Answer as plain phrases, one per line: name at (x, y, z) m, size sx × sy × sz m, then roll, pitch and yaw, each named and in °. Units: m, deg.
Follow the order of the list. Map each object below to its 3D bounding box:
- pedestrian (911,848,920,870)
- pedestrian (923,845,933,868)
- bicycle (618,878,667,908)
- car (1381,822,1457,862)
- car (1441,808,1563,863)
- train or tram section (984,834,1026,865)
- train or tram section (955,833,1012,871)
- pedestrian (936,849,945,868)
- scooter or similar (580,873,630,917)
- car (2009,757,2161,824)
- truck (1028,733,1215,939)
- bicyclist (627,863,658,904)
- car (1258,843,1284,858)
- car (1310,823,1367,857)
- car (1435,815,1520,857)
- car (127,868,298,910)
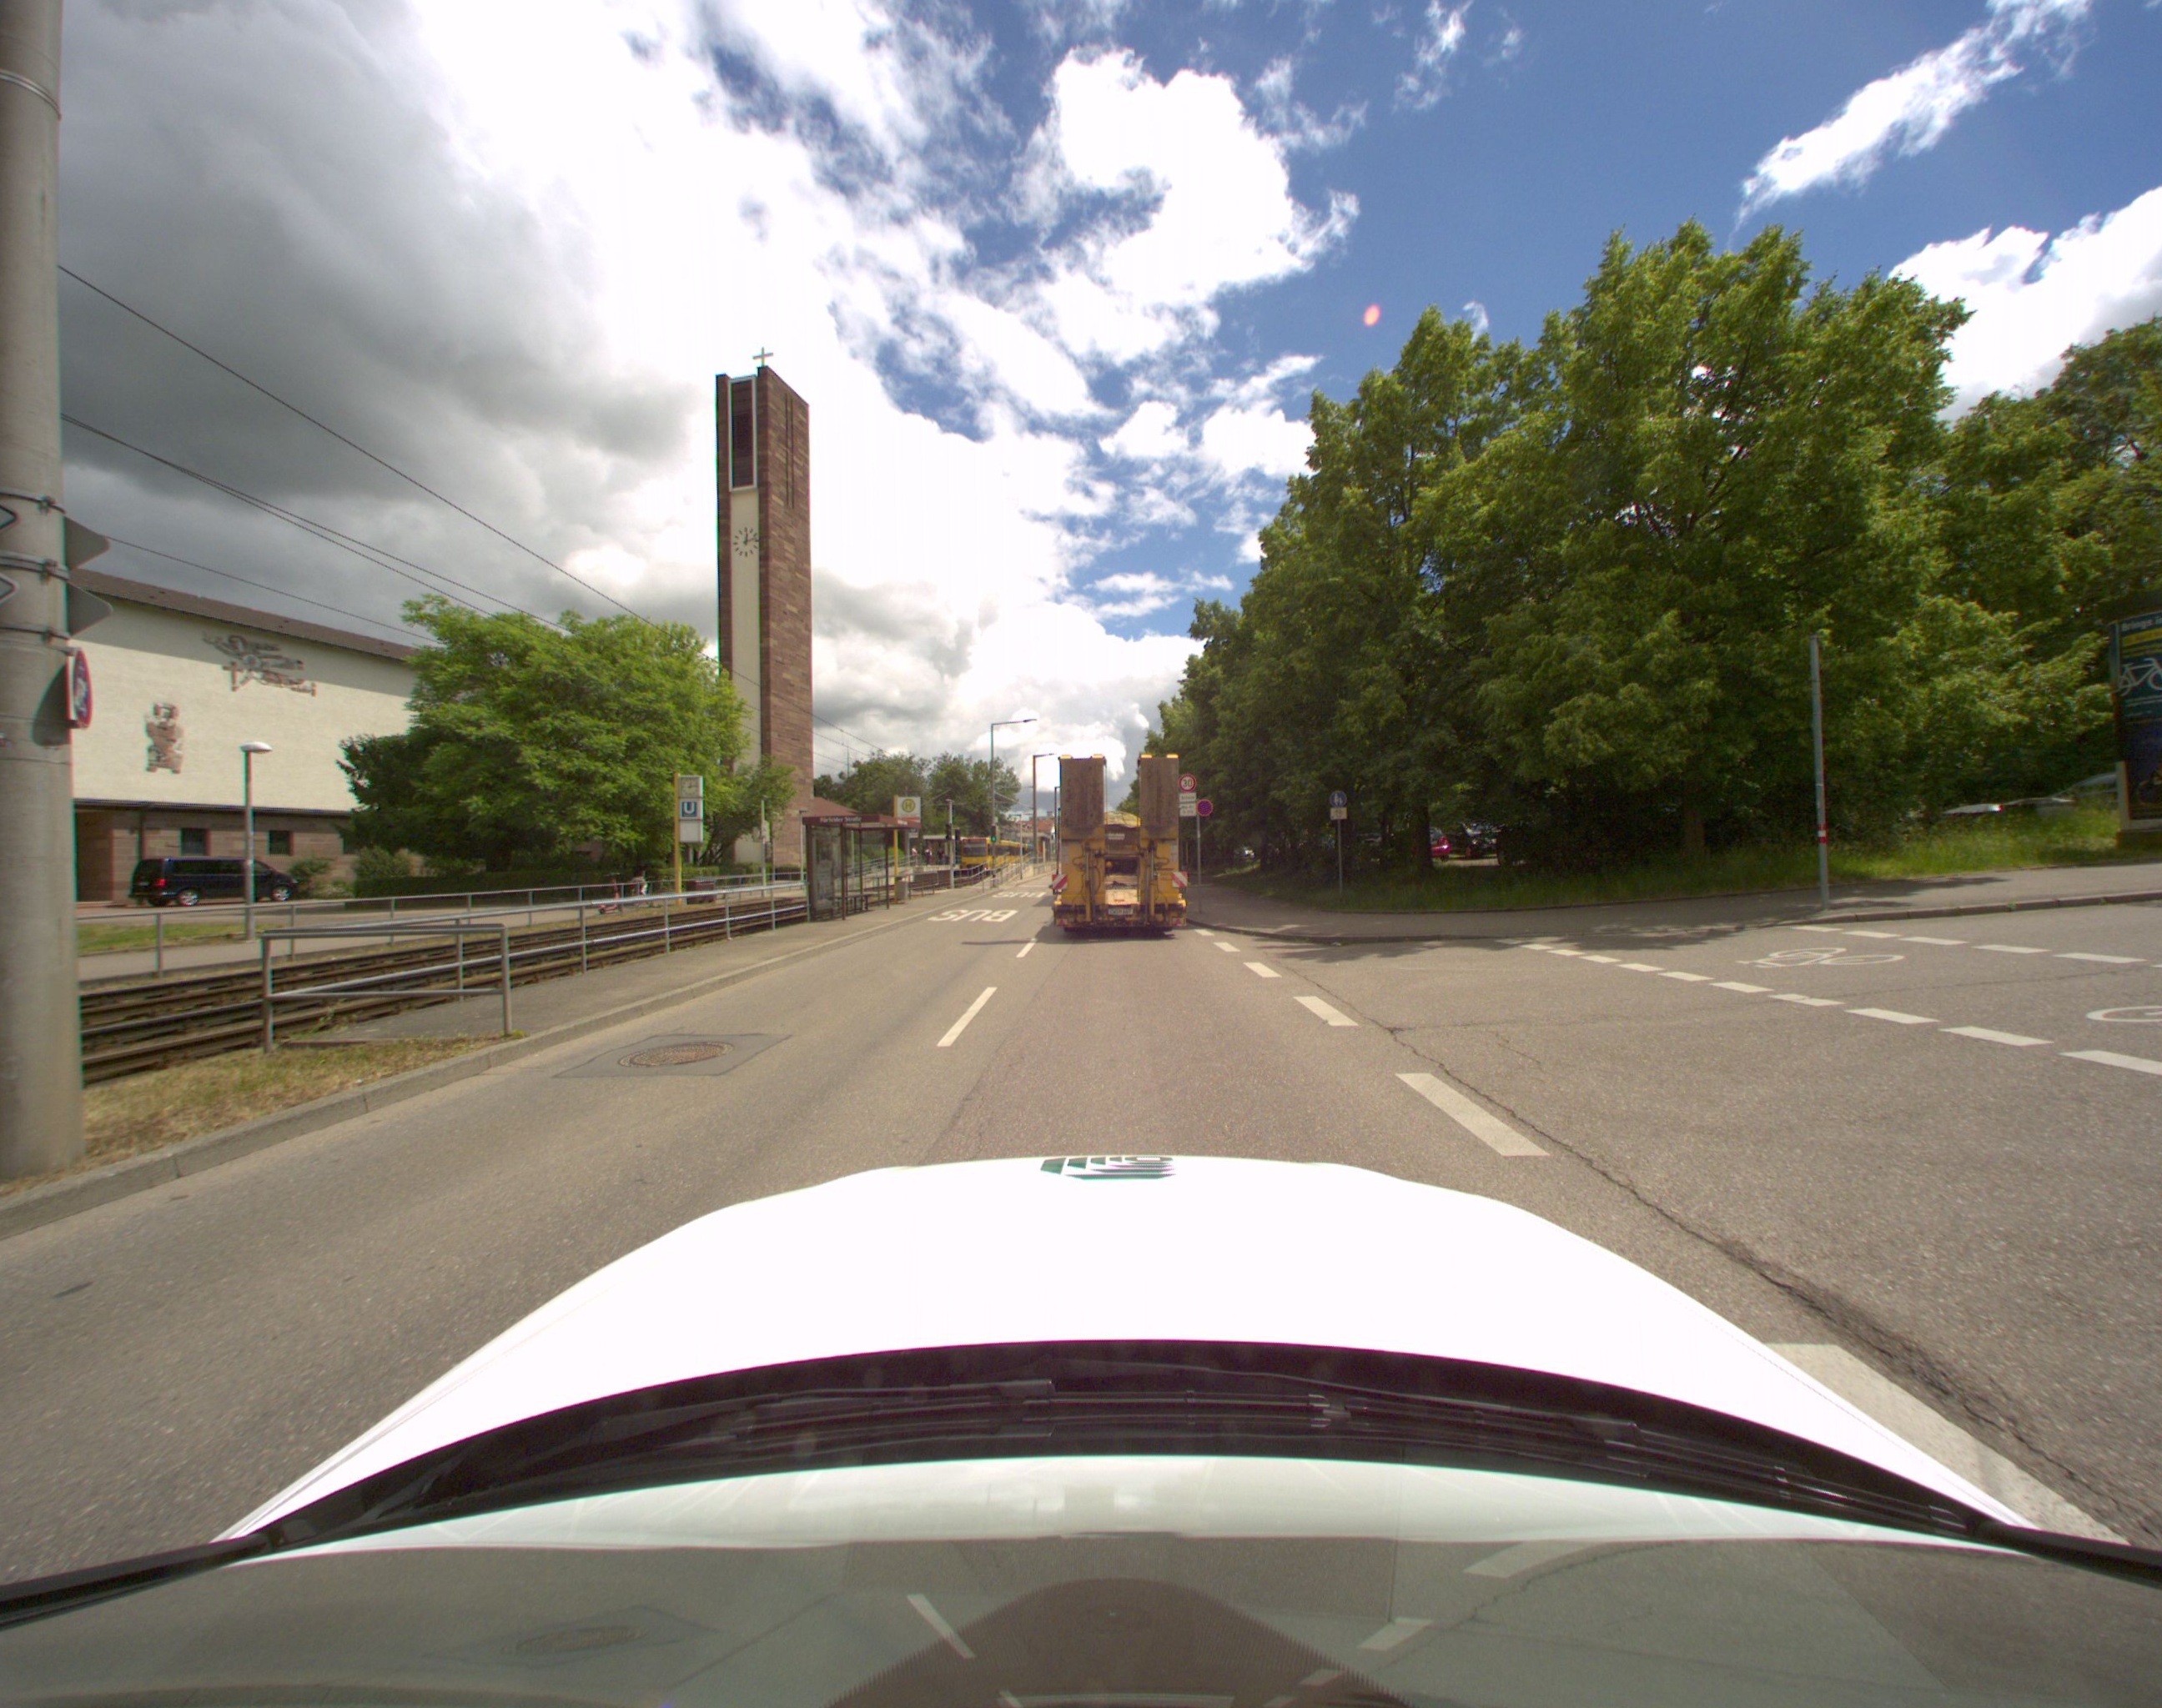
pedestrian at (-13.650, 0.397, 67.035) m, size 0.582 × 1.778 × 0.576 m, roll 1°, pitch -1°, yaw 1°
pedestrian at (-13.386, 0.216, 71.373) m, size 0.710 × 2.014 × 0.731 m, roll 1°, pitch -1°, yaw -1°
bicycle at (-15.510, 1.368, 28.877) m, size 0.635 × 0.994 × 1.929 m, roll 1°, pitch 0°, yaw 1°
car at (13.980, -0.462, 33.914) m, size 1.655 × 1.500 × 3.663 m, roll -4°, pitch 0°, yaw 1°
car at (13.326, -0.530, 26.057) m, size 1.818 × 1.512 × 3.812 m, roll -2°, pitch -2°, yaw -1°
train or tram section at (-9.364, -0.487, 103.562) m, size 3.097 × 3.465 × 19.000 m, roll 1°, pitch 0°, yaw 1°
train or tram section at (-9.810, -0.156, 84.618) m, size 3.097 × 3.465 × 18.830 m, roll 1°, pitch 0°, yaw 1°
pedestrian at (-12.577, 0.408, 72.908) m, size 0.637 × 1.707 × 0.646 m, roll 1°, pitch -1°, yaw 1°
scooter or similar at (-14.413, 1.217, 24.706) m, size 0.647 × 1.237 × 1.402 m, roll 0°, pitch 0°, yaw 2°
car at (26.656, -1.639, 20.661) m, size 1.631 × 1.469 × 3.983 m, roll -4°, pitch 0°, yaw 0°
truck at (0.642, -0.312, 21.835) m, size 3.392 × 3.732 × 13.731 m, roll -1°, pitch 0°, yaw -1°
bicyclist at (-15.574, 1.029, 28.923) m, size 0.631 × 1.429 × 0.790 m, roll 1°, pitch -1°, yaw 1°
car at (19.947, -0.372, 85.712) m, size 1.834 × 1.420 × 4.125 m, roll -3°, pitch 0°, yaw 2°
car at (13.212, -0.686, 42.036) m, size 1.621 × 1.514 × 4.139 m, roll -4°, pitch 0°, yaw 1°
car at (16.445, -0.701, 33.965) m, size 1.746 × 1.582 × 3.663 m, roll -4°, pitch 0°, yaw 1°
car at (-36.492, 1.422, 34.400) m, size 1.977 × 1.574 × 4.498 m, roll 1°, pitch 0°, yaw 19°
